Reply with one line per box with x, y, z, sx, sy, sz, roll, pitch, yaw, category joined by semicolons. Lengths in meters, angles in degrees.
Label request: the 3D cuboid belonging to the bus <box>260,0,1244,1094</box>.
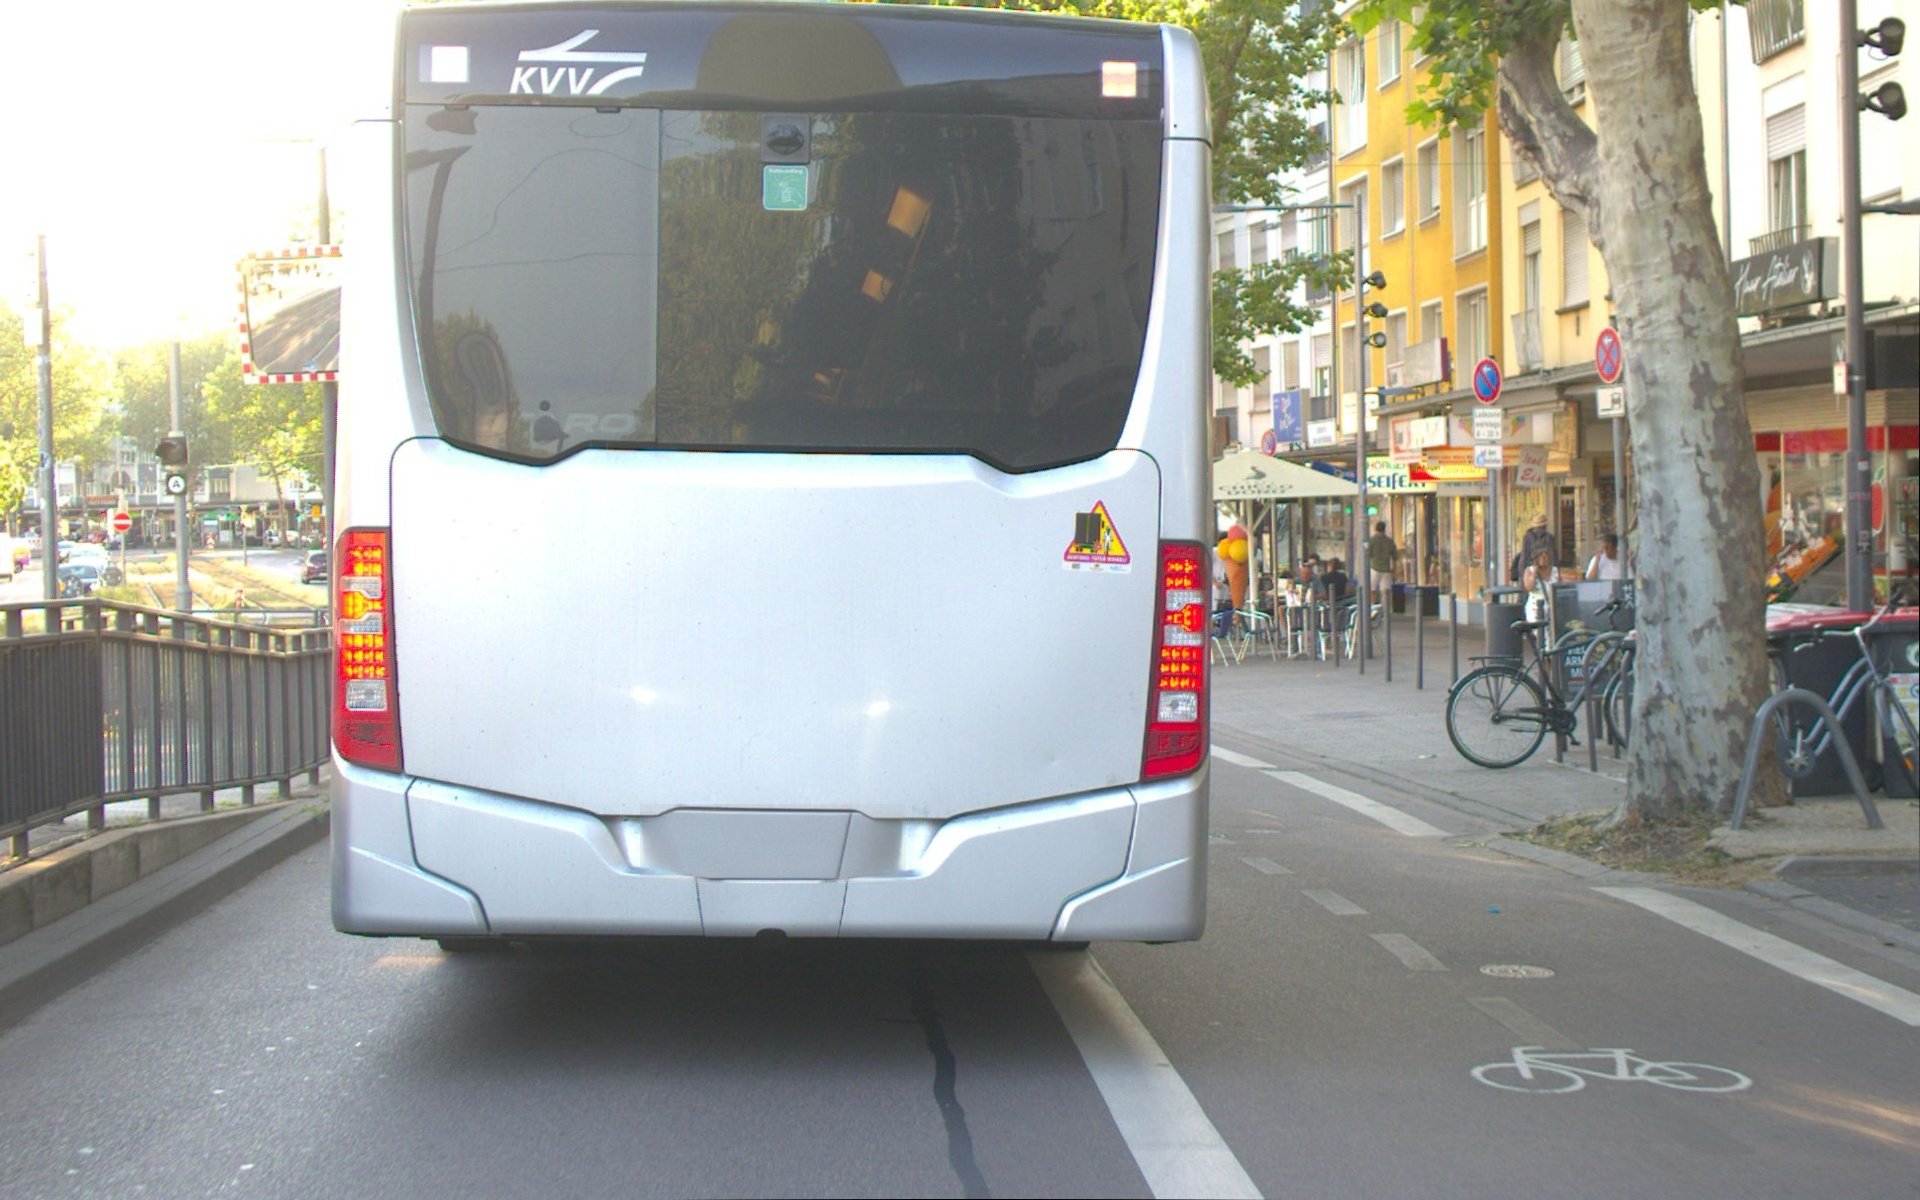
-0.769;-0.255;12.961;2.677;3.073;7.115;0;1;-3;bus

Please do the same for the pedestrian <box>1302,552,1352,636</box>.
5.634;-0.098;52.834;0.583;1.270;0.759;1;1;-8;pedestrian

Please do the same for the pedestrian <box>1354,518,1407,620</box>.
7.589;-0.566;62.106;0.706;1.785;0.788;-4;1;-3;pedestrian

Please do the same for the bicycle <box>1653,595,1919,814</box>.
4.594;0.551;18.099;1.717;1.114;0.745;-1;-3;-1;bicycle

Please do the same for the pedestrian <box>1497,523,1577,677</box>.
6.101;-0.006;36.372;0.635;1.581;0.627;-3;1;-3;pedestrian

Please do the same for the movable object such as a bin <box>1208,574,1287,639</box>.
4.547;0.102;54.396;0.926;1.020;0.840;0;1;-31;movable object such as a bin

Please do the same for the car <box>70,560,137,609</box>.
-28.801;-0.539;115.648;1.722;1.504;3.477;-3;1;-7;car

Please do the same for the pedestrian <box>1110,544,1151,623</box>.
3.883;-0.379;78.239;0.780;1.787;0.764;-1;1;-8;pedestrian

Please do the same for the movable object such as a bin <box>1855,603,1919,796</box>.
5.542;0.555;19.706;0.723;1.068;0.643;-3;0;17;movable object such as a bin

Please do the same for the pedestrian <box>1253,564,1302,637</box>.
4.940;0.007;53.469;0.583;1.111;0.751;1;1;-8;pedestrian

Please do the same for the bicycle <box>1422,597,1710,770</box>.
4.267;0.584;24.279;1.907;1.101;0.518;-3;1;5;bicycle

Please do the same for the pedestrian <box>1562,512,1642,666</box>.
6.793;-0.118;36.398;0.622;1.581;0.627;-3;1;-3;pedestrian

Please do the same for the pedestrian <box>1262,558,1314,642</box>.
4.873;-0.008;51.101;0.605;1.221;0.745;-1;1;-8;pedestrian

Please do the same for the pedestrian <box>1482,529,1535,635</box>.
8.106;-0.265;50.778;0.625;1.541;0.637;-1;1;23;pedestrian

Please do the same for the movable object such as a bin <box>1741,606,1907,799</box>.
5.053;0.590;20.130;0.722;1.068;0.644;-3;0;-3;movable object such as a bin

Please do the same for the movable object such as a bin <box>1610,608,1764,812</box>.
4.216;0.629;19.980;0.722;1.098;0.644;-5;1;5;movable object such as a bin

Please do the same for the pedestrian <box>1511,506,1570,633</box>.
8.266;-0.434;48.923;0.636;1.797;0.626;-1;1;28;pedestrian
